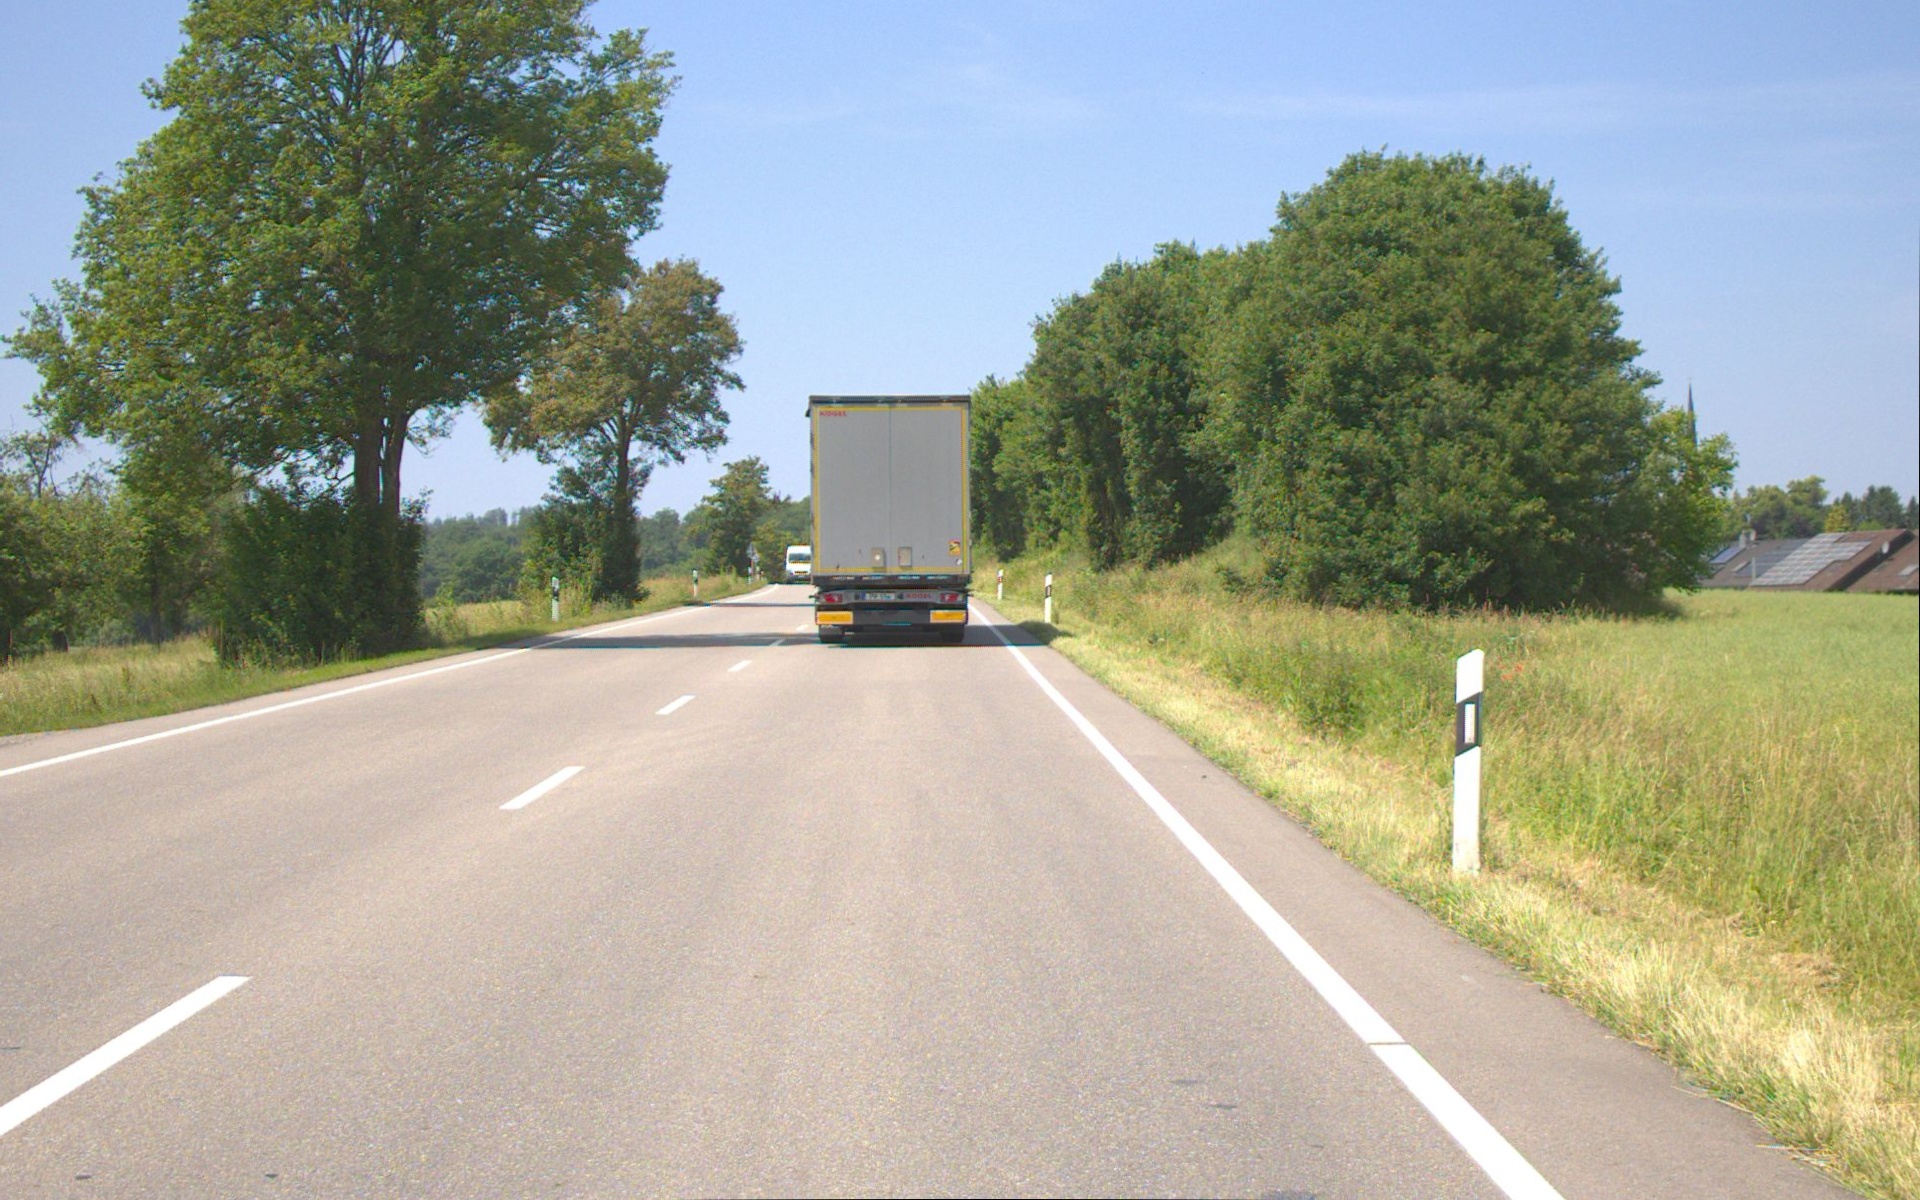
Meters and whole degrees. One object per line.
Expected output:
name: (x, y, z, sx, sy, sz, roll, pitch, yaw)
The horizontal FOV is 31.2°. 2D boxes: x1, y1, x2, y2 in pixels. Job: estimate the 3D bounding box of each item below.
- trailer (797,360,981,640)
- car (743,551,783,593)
trailer: (-1.251, -1.671, 60.722, 2.867, 4.385, 13.494, 0, 1, -1)
car: (-9.645, -1.366, 168.666, 1.873, 2.007, 4.075, 1, 1, -3)
